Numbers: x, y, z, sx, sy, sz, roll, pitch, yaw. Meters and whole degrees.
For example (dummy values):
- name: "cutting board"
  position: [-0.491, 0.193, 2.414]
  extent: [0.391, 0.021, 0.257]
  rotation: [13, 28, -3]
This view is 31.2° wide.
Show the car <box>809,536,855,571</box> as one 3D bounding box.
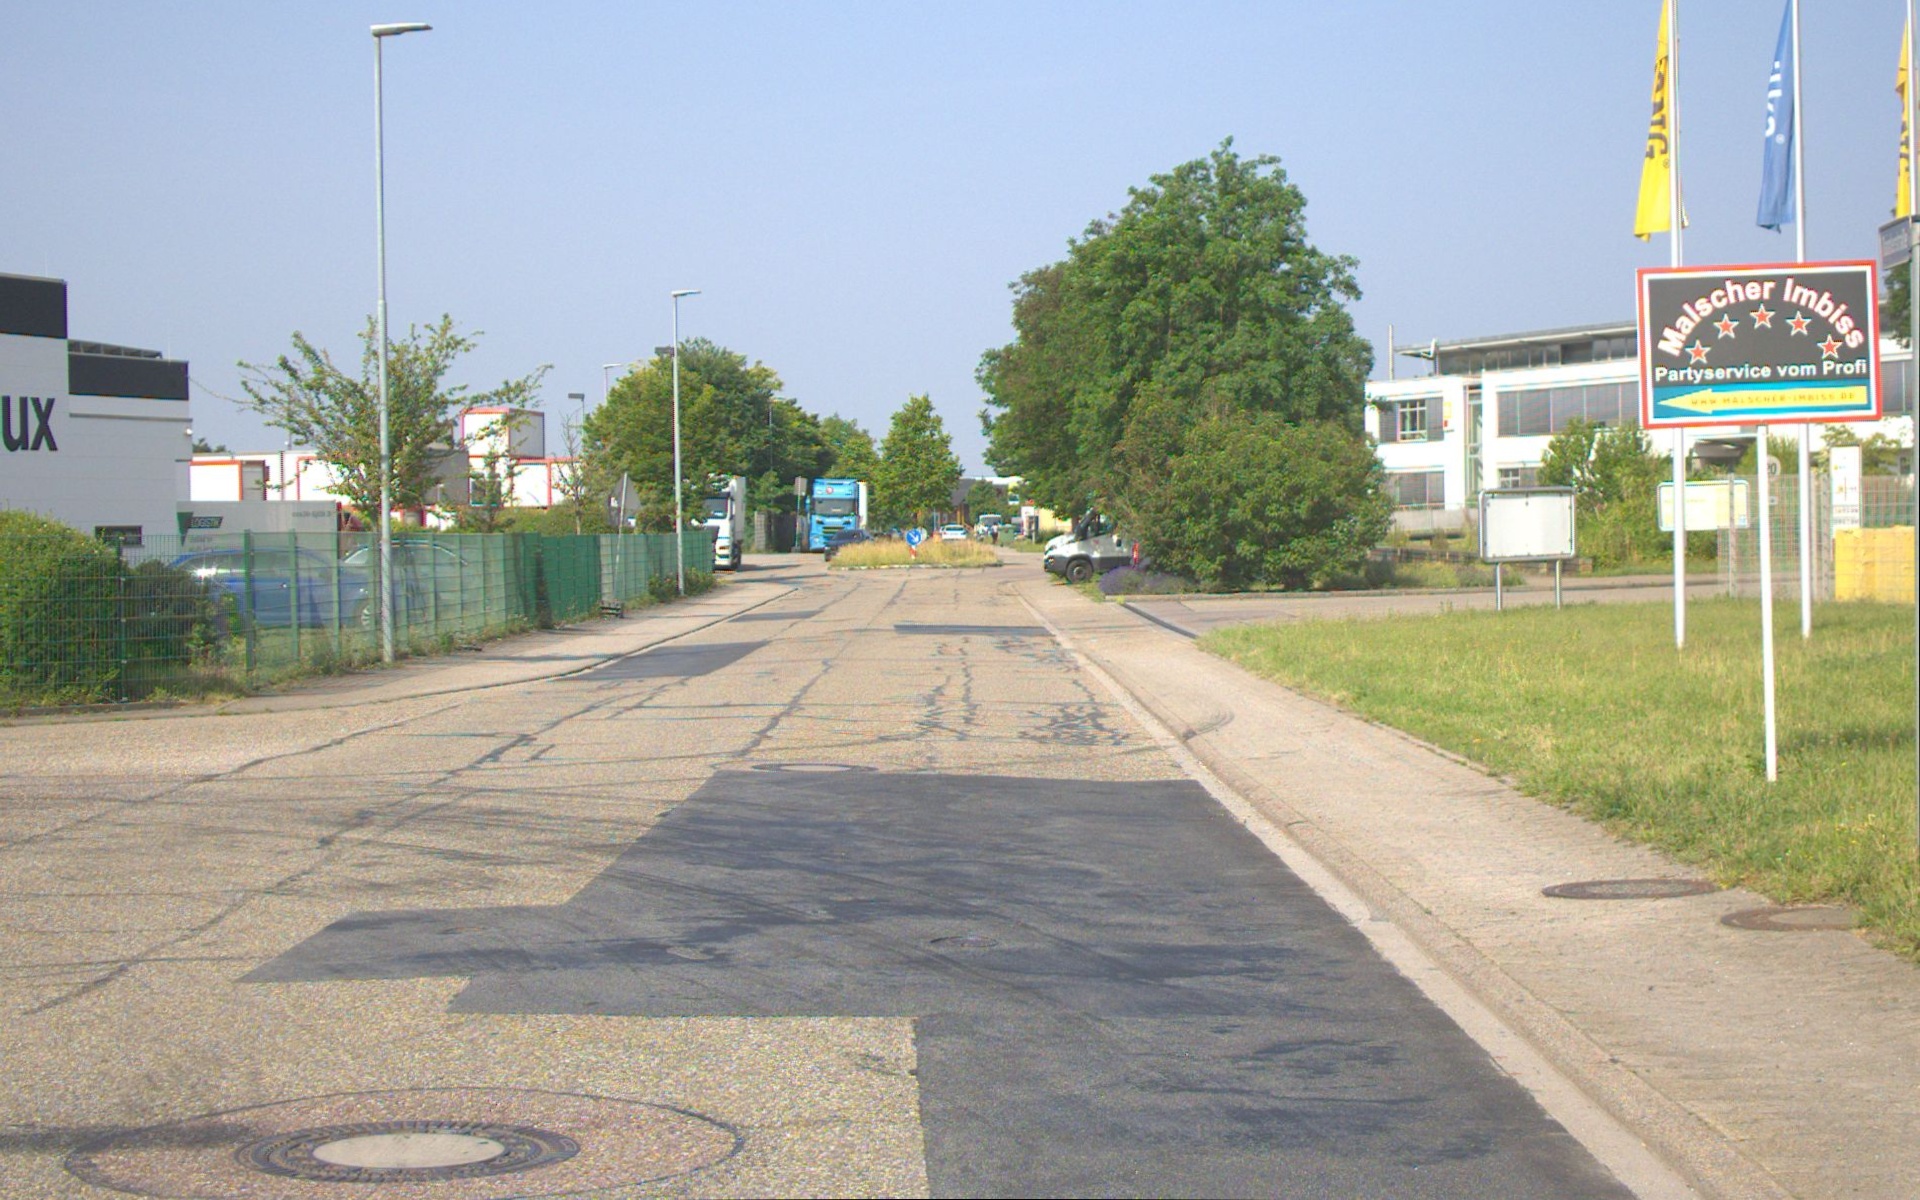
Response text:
- name: "car"
  position: [-5.816, -2.115, 156.286]
  extent: [1.993, 1.444, 4.420]
  rotation: [-3, 1, -2]

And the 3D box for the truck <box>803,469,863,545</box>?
- name: "truck"
  position: [-6.705, -4.899, 182.686]
  extent: [2.825, 3.812, 9.673]
  rotation: [1, 0, 0]

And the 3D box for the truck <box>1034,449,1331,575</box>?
- name: "truck"
  position: [6.330, -2.495, 98.603]
  extent: [8.208, 3.359, 2.741]
  rotation: [-2, 0, -1]

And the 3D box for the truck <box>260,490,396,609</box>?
- name: "truck"
  position: [-22.157, -1.734, 120.745]
  extent: [2.515, 4.057, 5.539]
  rotation: [1, 0, 15]

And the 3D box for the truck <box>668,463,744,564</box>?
- name: "truck"
  position: [-10.213, -3.449, 138.499]
  extent: [2.708, 3.908, 4.297]
  rotation: [1, 0, -1]

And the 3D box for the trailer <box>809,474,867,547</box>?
- name: "trailer"
  position: [-6.785, -4.962, 192.715]
  extent: [2.831, 3.829, 12.036]
  rotation: [1, 0, 0]

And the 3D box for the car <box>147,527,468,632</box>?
- name: "car"
  position: [-10.388, -0.347, 54.969]
  extent: [4.685, 1.439, 2.078]
  rotation: [-3, 1, 0]

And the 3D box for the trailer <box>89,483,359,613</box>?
- name: "trailer"
  position: [-24.093, -1.637, 113.750]
  extent: [2.484, 4.028, 13.878]
  rotation: [1, 0, 16]

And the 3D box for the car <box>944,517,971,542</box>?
- name: "car"
  position: [-0.198, -4.919, 240.650]
  extent: [1.718, 1.655, 3.824]
  rotation: [1, 0, -2]

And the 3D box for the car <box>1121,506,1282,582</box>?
- name: "car"
  position: [6.151, -1.437, 87.979]
  extent: [3.987, 1.831, 2.000]
  rotation: [-1, 1, 1]
